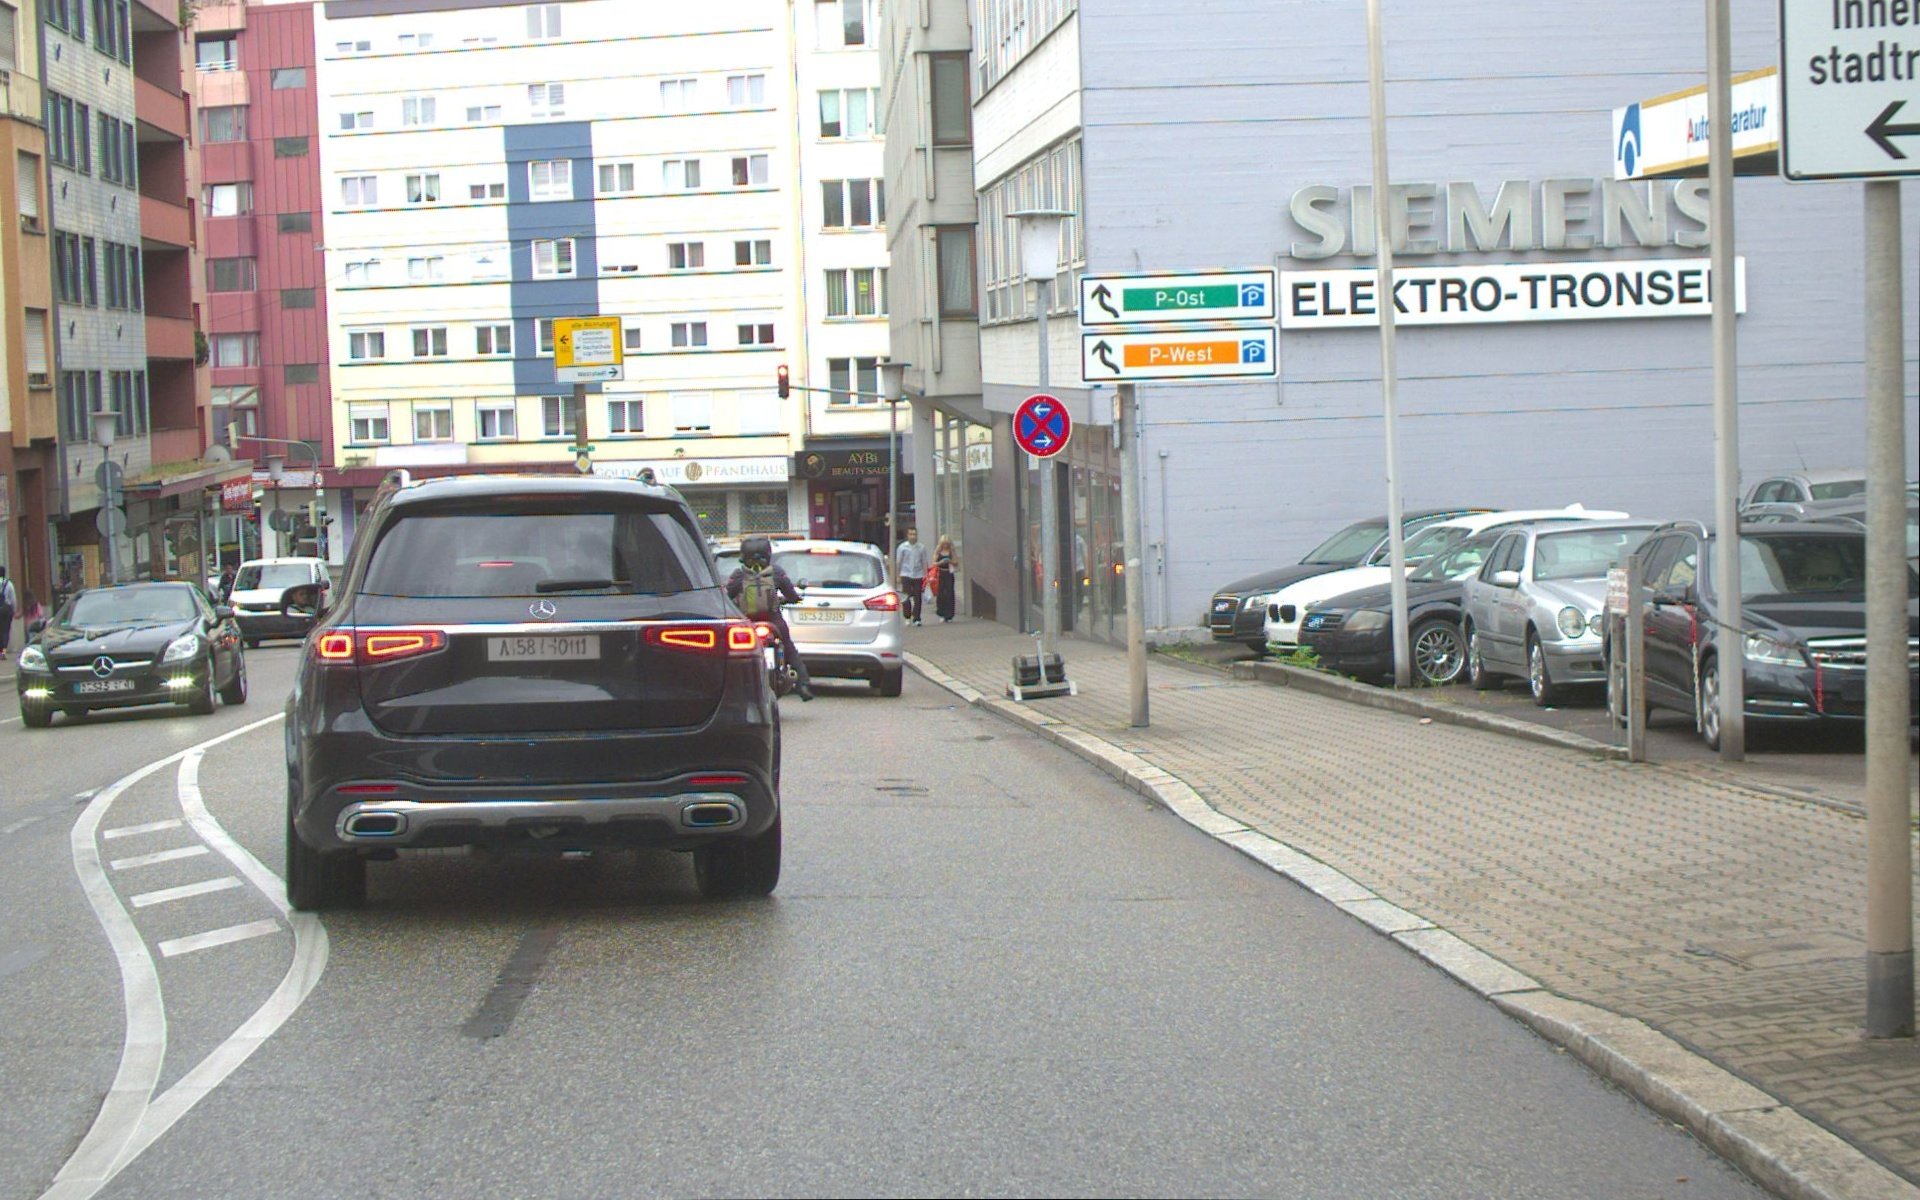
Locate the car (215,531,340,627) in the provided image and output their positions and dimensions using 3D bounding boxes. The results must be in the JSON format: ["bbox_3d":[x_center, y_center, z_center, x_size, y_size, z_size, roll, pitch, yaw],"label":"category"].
[{"bbox_3d":[-13.644,-0.454,68.906,1.869,1.747,4.400,-4,1,-5],"label":"car"}]

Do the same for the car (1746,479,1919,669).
[{"bbox_3d":[7.816,-0.201,28.970,1.527,1.507,3.392,0,0,-1],"label":"car"}]

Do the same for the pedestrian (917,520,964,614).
[{"bbox_3d":[-0.345,-0.581,60.526,0.717,1.606,0.611,-1,3,-7],"label":"pedestrian"}]

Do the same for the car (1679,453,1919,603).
[{"bbox_3d":[9.595,-0.769,38.759,1.644,1.592,3.868,0,0,-9],"label":"car"}]

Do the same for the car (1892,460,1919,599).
[{"bbox_3d":[11.862,-0.819,38.565,1.449,1.592,3.393,0,0,-9],"label":"car"}]

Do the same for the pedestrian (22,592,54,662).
[{"bbox_3d":[-16.155,0.465,60.261,0.425,1.158,0.587,-1,5,-7],"label":"pedestrian"}]

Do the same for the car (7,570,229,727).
[{"bbox_3d":[-8.112,0.421,33.416,1.714,1.313,4.145,-2,2,-9],"label":"car"}]

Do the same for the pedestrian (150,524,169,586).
[{"bbox_3d":[-19.345,-1.078,83.094,0.318,1.469,0.339,-1,5,1],"label":"pedestrian"}]

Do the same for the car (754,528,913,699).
[{"bbox_3d":[-1.351,0.104,35.755,1.415,1.645,3.108,-1,2,-6],"label":"car"}]

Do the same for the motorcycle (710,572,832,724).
[{"bbox_3d":[-1.648,0.383,29.649,0.867,1.182,2.562,-1,2,-7],"label":"motorcycle"}]

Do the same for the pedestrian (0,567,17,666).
[{"bbox_3d":[-16.724,0.287,59.317,0.739,1.646,0.606,-1,5,-7],"label":"pedestrian"}]

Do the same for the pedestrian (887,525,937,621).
[{"bbox_3d":[-0.832,-0.476,59.745,0.769,1.606,0.704,-1,3,-7],"label":"pedestrian"}]

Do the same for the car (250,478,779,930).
[{"bbox_3d":[-1.957,0.359,15.627,2.020,1.733,4.748,0,1,-6],"label":"car"}]

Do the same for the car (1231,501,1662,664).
[{"bbox_3d":[4.962,-0.176,35.115,3.986,1.592,1.799,0,0,-22],"label":"car"}]

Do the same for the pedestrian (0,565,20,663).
[{"bbox_3d":[-16.859,0.248,60.120,0.671,1.646,0.606,-1,5,-7],"label":"pedestrian"}]

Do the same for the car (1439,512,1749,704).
[{"bbox_3d":[5.160,0.019,28.450,1.565,1.472,4.070,0,1,-4],"label":"car"}]

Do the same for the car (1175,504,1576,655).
[{"bbox_3d":[4.551,-0.216,37.677,3.986,1.592,1.799,0,0,-22],"label":"car"}]

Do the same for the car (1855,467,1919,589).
[{"bbox_3d":[10.211,-0.720,33.891,1.449,1.198,3.393,0,0,-9],"label":"car"}]

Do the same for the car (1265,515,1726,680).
[{"bbox_3d":[5.073,-0.030,32.587,3.986,1.489,1.733,0,0,-22],"label":"car"}]

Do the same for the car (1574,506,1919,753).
[{"bbox_3d":[5.443,0.127,22.762,1.796,1.472,4.486,0,1,-2],"label":"car"}]

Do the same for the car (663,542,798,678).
[{"bbox_3d":[-2.867,0.093,42.452,1.522,1.543,3.108,-1,2,-6],"label":"car"}]

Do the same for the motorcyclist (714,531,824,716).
[{"bbox_3d":[-1.651,0.199,29.671,0.866,1.555,0.764,-1,0,-7],"label":"motorcyclist"}]

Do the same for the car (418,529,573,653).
[{"bbox_3d":[-5.992,-0.156,44.748,1.830,1.456,4.380,-2,1,-6],"label":"car"}]
